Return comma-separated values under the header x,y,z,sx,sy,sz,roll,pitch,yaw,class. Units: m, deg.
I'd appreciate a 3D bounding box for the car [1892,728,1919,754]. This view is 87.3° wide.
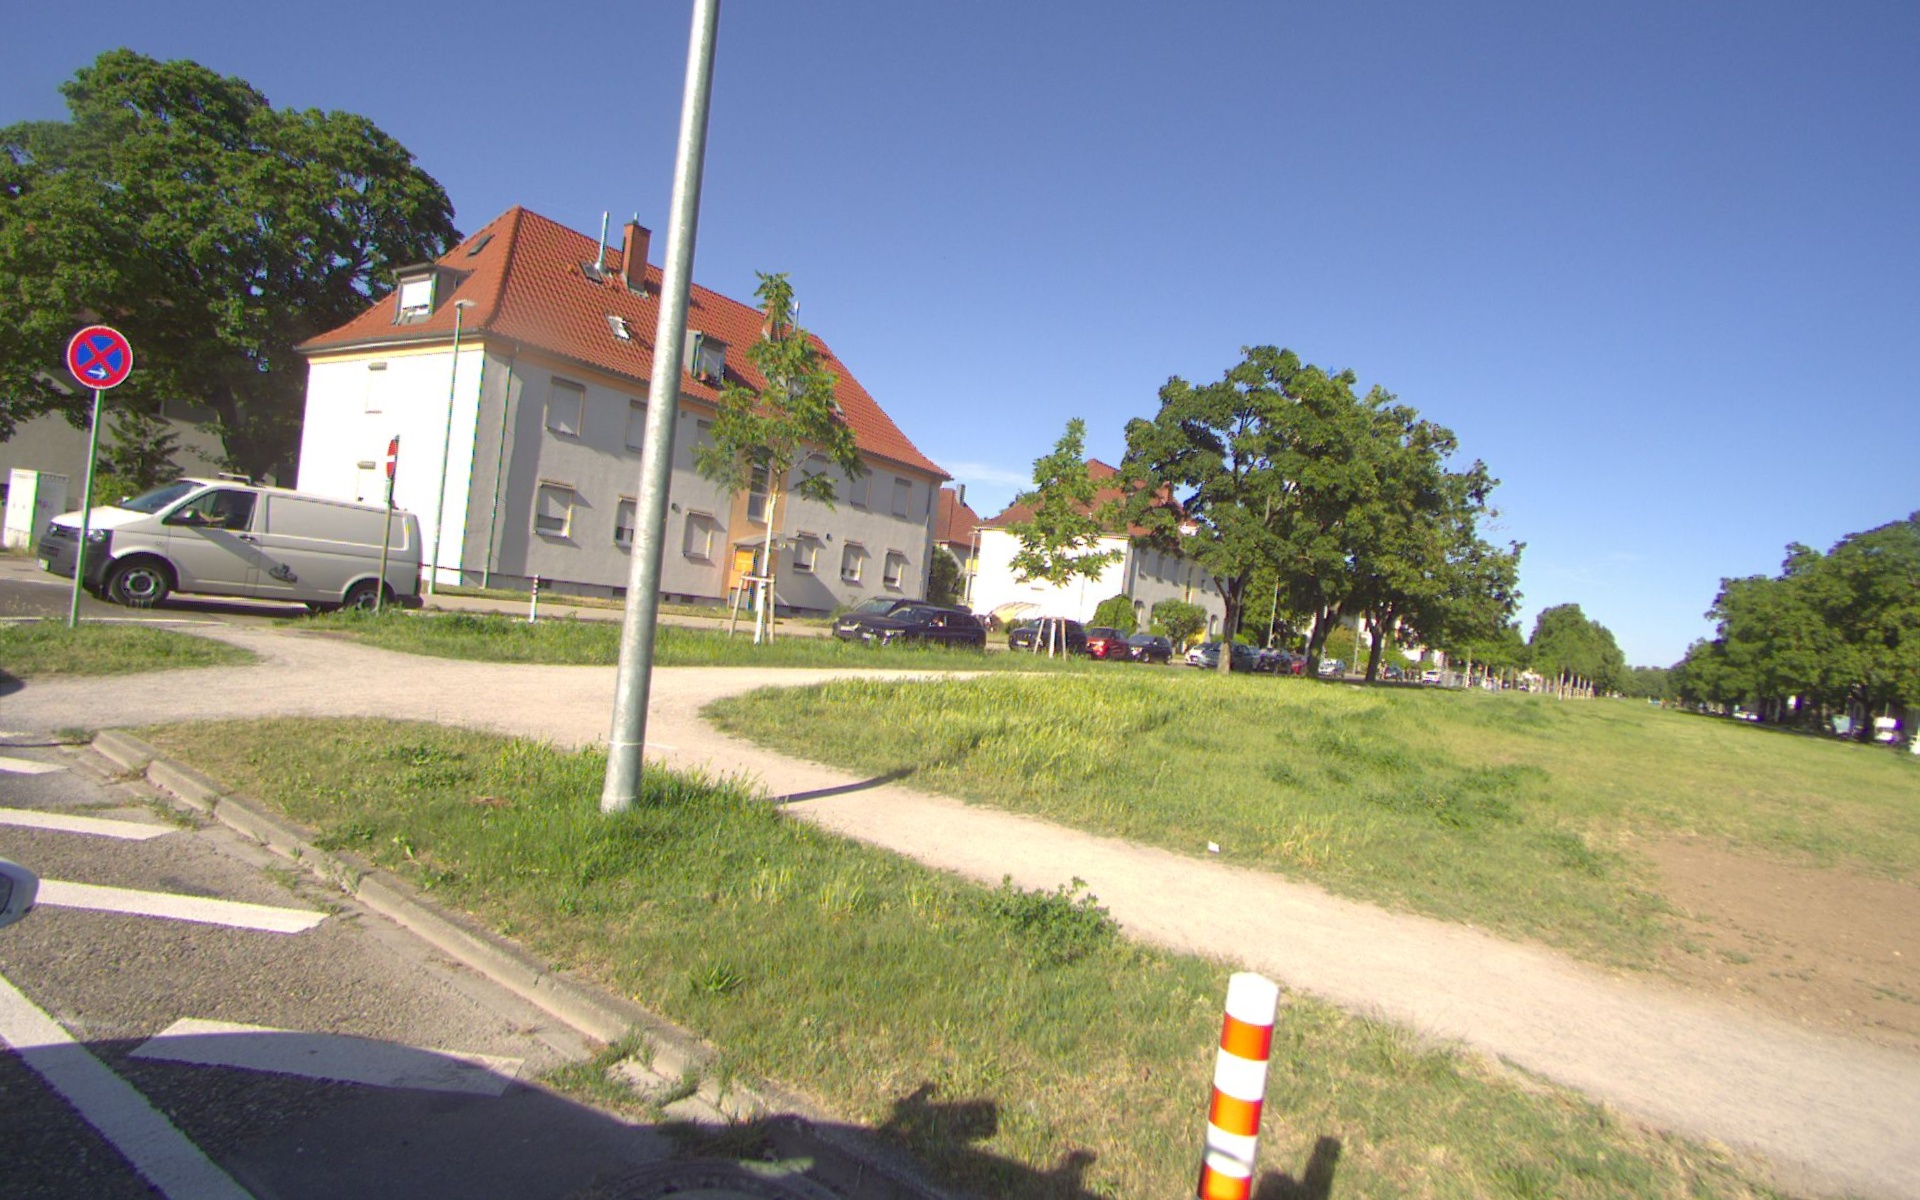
x,y,z,sx,sy,sz,roll,pitch,yaw,class
66.229,9.845,69.417,2.049,1.484,4.712,8,0,36,car

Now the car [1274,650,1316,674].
x,y,z,sx,sy,sz,roll,pitch,yaw,class
23.930,4.439,71.808,1.694,1.358,3.798,8,0,35,car

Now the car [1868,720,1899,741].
x,y,z,sx,sy,sz,roll,pitch,yaw,class
102.097,14.354,111.236,1.837,1.868,3.981,9,1,36,car

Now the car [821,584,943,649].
x,y,z,sx,sy,sz,roll,pitch,yaw,class
-2.502,0.585,33.234,1.694,1.685,4.052,8,0,35,car

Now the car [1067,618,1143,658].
x,y,z,sx,sy,sz,roll,pitch,yaw,class
6.804,1.797,46.823,1.694,1.459,4.128,8,0,35,car

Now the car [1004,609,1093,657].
x,y,z,sx,sy,sz,roll,pitch,yaw,class
3.742,1.419,42.019,1.694,1.603,4.128,8,0,35,car

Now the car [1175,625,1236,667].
x,y,z,sx,sy,sz,roll,pitch,yaw,class
14.318,2.712,58.438,1.842,2.038,4.243,8,0,35,car

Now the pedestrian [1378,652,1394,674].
x,y,z,sx,sy,sz,roll,pitch,yaw,class
36.735,5.408,86.704,1.036,1.731,0.691,8,1,31,pedestrian

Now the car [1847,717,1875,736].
x,y,z,sx,sy,sz,roll,pitch,yaw,class
109.413,15.303,122.181,1.837,1.868,3.982,8,0,36,car

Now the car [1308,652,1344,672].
x,y,z,sx,sy,sz,roll,pitch,yaw,class
29.528,5.012,81.166,1.694,1.358,3.798,8,0,35,car

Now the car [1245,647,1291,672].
x,y,z,sx,sy,sz,roll,pitch,yaw,class
20.545,3.989,66.965,1.694,1.358,3.798,8,0,35,car

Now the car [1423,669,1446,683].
x,y,z,sx,sy,sz,roll,pitch,yaw,class
55.792,8.949,118.205,1.694,1.358,3.798,8,0,35,car

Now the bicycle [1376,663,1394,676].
x,y,z,sx,sy,sz,roll,pitch,yaw,class
36.649,5.976,86.698,1.036,0.949,2.759,8,0,30,bicycle

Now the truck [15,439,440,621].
x,y,z,sx,sy,sz,roll,pitch,yaw,class
-11.100,-0.955,15.655,1.968,2.061,4.860,8,0,34,truck

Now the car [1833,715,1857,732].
x,y,z,sx,sy,sz,roll,pitch,yaw,class
118.085,16.420,134.244,1.837,1.868,3.982,8,0,36,car

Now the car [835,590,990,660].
x,y,z,sx,sy,sz,roll,pitch,yaw,class
-1.268,0.777,29.362,1.968,1.543,4.743,8,0,34,car

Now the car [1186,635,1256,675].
x,y,z,sx,sy,sz,roll,pitch,yaw,class
13.077,2.759,50.234,1.859,1.628,4.234,8,0,35,car

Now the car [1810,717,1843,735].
x,y,z,sx,sy,sz,roll,pitch,yaw,class
91.644,13.304,106.481,2.049,1.484,4.712,8,0,36,car

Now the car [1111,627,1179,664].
x,y,z,sx,sy,sz,roll,pitch,yaw,class
9.356,2.316,50.657,1.694,1.459,4.128,8,0,35,car

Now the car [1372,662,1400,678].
x,y,z,sx,sy,sz,roll,pitch,yaw,class
42.264,6.946,99.676,1.694,1.358,3.798,8,0,35,car
